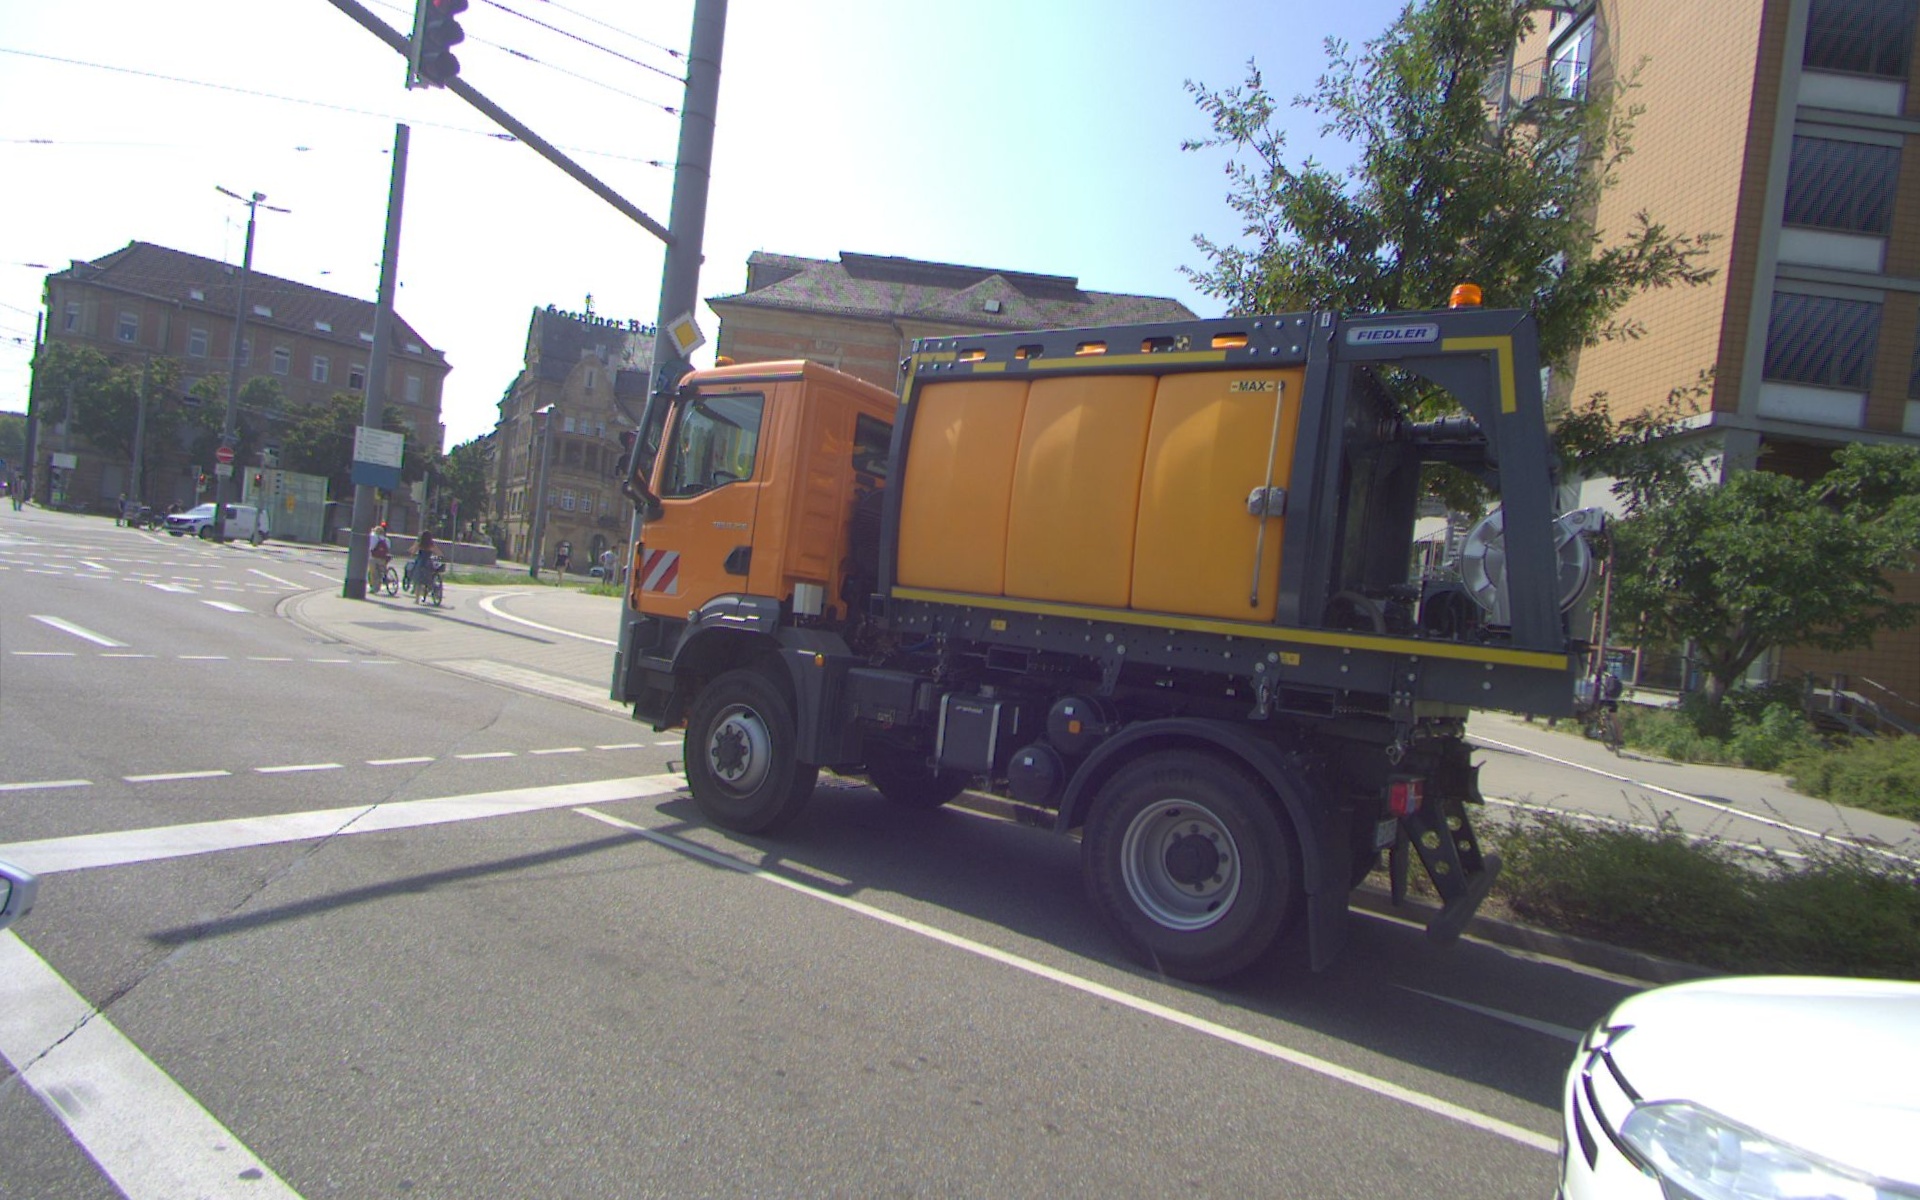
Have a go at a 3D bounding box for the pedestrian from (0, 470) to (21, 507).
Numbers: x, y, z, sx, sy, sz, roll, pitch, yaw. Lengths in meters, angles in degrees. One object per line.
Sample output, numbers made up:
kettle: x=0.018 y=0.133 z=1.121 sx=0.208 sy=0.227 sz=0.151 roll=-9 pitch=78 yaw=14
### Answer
pedestrian: x=-81.791 y=-9.604 z=86.630 sx=0.960 sy=3.055 sz=0.983 roll=7 pitch=1 yaw=38

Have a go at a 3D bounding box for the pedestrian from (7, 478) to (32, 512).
pedestrian: x=-49.091 y=-5.475 z=52.525 sx=0.562 sy=1.623 sz=0.701 roll=7 pitch=1 yaw=24

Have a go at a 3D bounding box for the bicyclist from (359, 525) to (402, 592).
bicyclist: x=-14.130 y=-1.012 z=24.519 sx=0.702 sy=1.537 sz=0.626 roll=7 pitch=1 yaw=44

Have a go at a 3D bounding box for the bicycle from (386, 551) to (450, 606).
bicycle: x=-12.393 y=-0.507 z=22.981 sx=1.795 sy=1.068 sz=0.492 roll=7 pitch=1 yaw=37

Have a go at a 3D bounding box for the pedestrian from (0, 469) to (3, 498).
pedestrian: x=-82.648 y=-9.750 z=85.902 sx=0.960 sy=3.055 sz=0.983 roll=7 pitch=1 yaw=38

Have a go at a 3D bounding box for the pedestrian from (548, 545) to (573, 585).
pedestrian: x=-17.002 y=-1.484 z=42.815 sx=0.727 sy=1.595 sz=0.787 roll=6 pitch=1 yaw=-14

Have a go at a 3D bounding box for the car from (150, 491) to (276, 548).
car: x=-35.417 y=-3.773 z=47.889 sx=1.962 sy=2.038 sz=4.628 roll=7 pitch=0 yaw=9

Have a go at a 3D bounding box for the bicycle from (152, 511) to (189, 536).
bicycle: x=-39.789 y=-3.867 z=50.686 sx=1.622 sy=1.068 sz=0.471 roll=7 pitch=1 yaw=12

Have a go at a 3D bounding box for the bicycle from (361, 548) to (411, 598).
bicycle: x=-13.881 y=-0.663 z=24.310 sx=1.632 sy=1.068 sz=0.535 roll=7 pitch=1 yaw=45

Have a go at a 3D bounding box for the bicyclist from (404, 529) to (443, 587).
bicyclist: x=-14.068 y=-1.095 z=26.372 sx=0.882 sy=1.410 sz=0.529 roll=7 pitch=1 yaw=44

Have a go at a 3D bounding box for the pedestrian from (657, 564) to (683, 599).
pedestrian: x=-12.549 y=-0.787 z=43.584 sx=0.679 sy=1.417 sz=0.767 roll=7 pitch=1 yaw=7

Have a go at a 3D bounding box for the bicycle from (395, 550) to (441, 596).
bicycle: x=-14.369 y=-0.734 z=26.650 sx=1.632 sy=1.068 sz=0.535 roll=7 pitch=1 yaw=45

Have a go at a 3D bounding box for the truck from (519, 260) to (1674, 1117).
truck: x=0.330 y=0.096 z=6.632 sx=6.751 sy=3.174 sz=2.493 roll=7 pitch=1 yaw=34

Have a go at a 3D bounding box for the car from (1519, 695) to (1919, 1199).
car: x=3.258 y=1.173 z=1.104 sx=4.533 sy=1.446 sz=1.771 roll=7 pitch=0 yaw=32

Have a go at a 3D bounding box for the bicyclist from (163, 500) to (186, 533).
bicyclist: x=-39.562 y=-4.205 z=50.655 sx=0.511 sy=1.548 sz=0.613 roll=7 pitch=1 yaw=8

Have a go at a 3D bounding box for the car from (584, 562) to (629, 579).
car: x=-30.629 y=-2.540 z=87.269 sx=1.962 sy=1.103 sz=4.002 roll=7 pitch=0 yaw=10

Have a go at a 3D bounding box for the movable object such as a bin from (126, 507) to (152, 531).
movable object such as a bin: x=-41.753 y=-4.135 z=51.181 sx=0.502 sy=1.091 sz=0.815 roll=7 pitch=1 yaw=21

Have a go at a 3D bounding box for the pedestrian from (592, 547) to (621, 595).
pedestrian: x=-13.612 y=-1.115 z=38.745 sx=0.808 sy=1.746 sz=0.546 roll=6 pitch=1 yaw=-9

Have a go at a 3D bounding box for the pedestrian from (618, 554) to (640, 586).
pedestrian: x=-13.623 y=-1.251 z=41.371 sx=0.659 sy=1.229 sz=0.523 roll=6 pitch=1 yaw=-30

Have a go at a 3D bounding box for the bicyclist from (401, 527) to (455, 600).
bicyclist: x=-11.996 y=-0.822 z=22.699 sx=0.653 sy=1.537 sz=0.734 roll=7 pitch=1 yaw=36

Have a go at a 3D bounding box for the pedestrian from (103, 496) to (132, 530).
pedestrian: x=-42.414 y=-4.388 z=50.644 sx=0.519 sy=1.564 sz=0.852 roll=7 pitch=1 yaw=24
